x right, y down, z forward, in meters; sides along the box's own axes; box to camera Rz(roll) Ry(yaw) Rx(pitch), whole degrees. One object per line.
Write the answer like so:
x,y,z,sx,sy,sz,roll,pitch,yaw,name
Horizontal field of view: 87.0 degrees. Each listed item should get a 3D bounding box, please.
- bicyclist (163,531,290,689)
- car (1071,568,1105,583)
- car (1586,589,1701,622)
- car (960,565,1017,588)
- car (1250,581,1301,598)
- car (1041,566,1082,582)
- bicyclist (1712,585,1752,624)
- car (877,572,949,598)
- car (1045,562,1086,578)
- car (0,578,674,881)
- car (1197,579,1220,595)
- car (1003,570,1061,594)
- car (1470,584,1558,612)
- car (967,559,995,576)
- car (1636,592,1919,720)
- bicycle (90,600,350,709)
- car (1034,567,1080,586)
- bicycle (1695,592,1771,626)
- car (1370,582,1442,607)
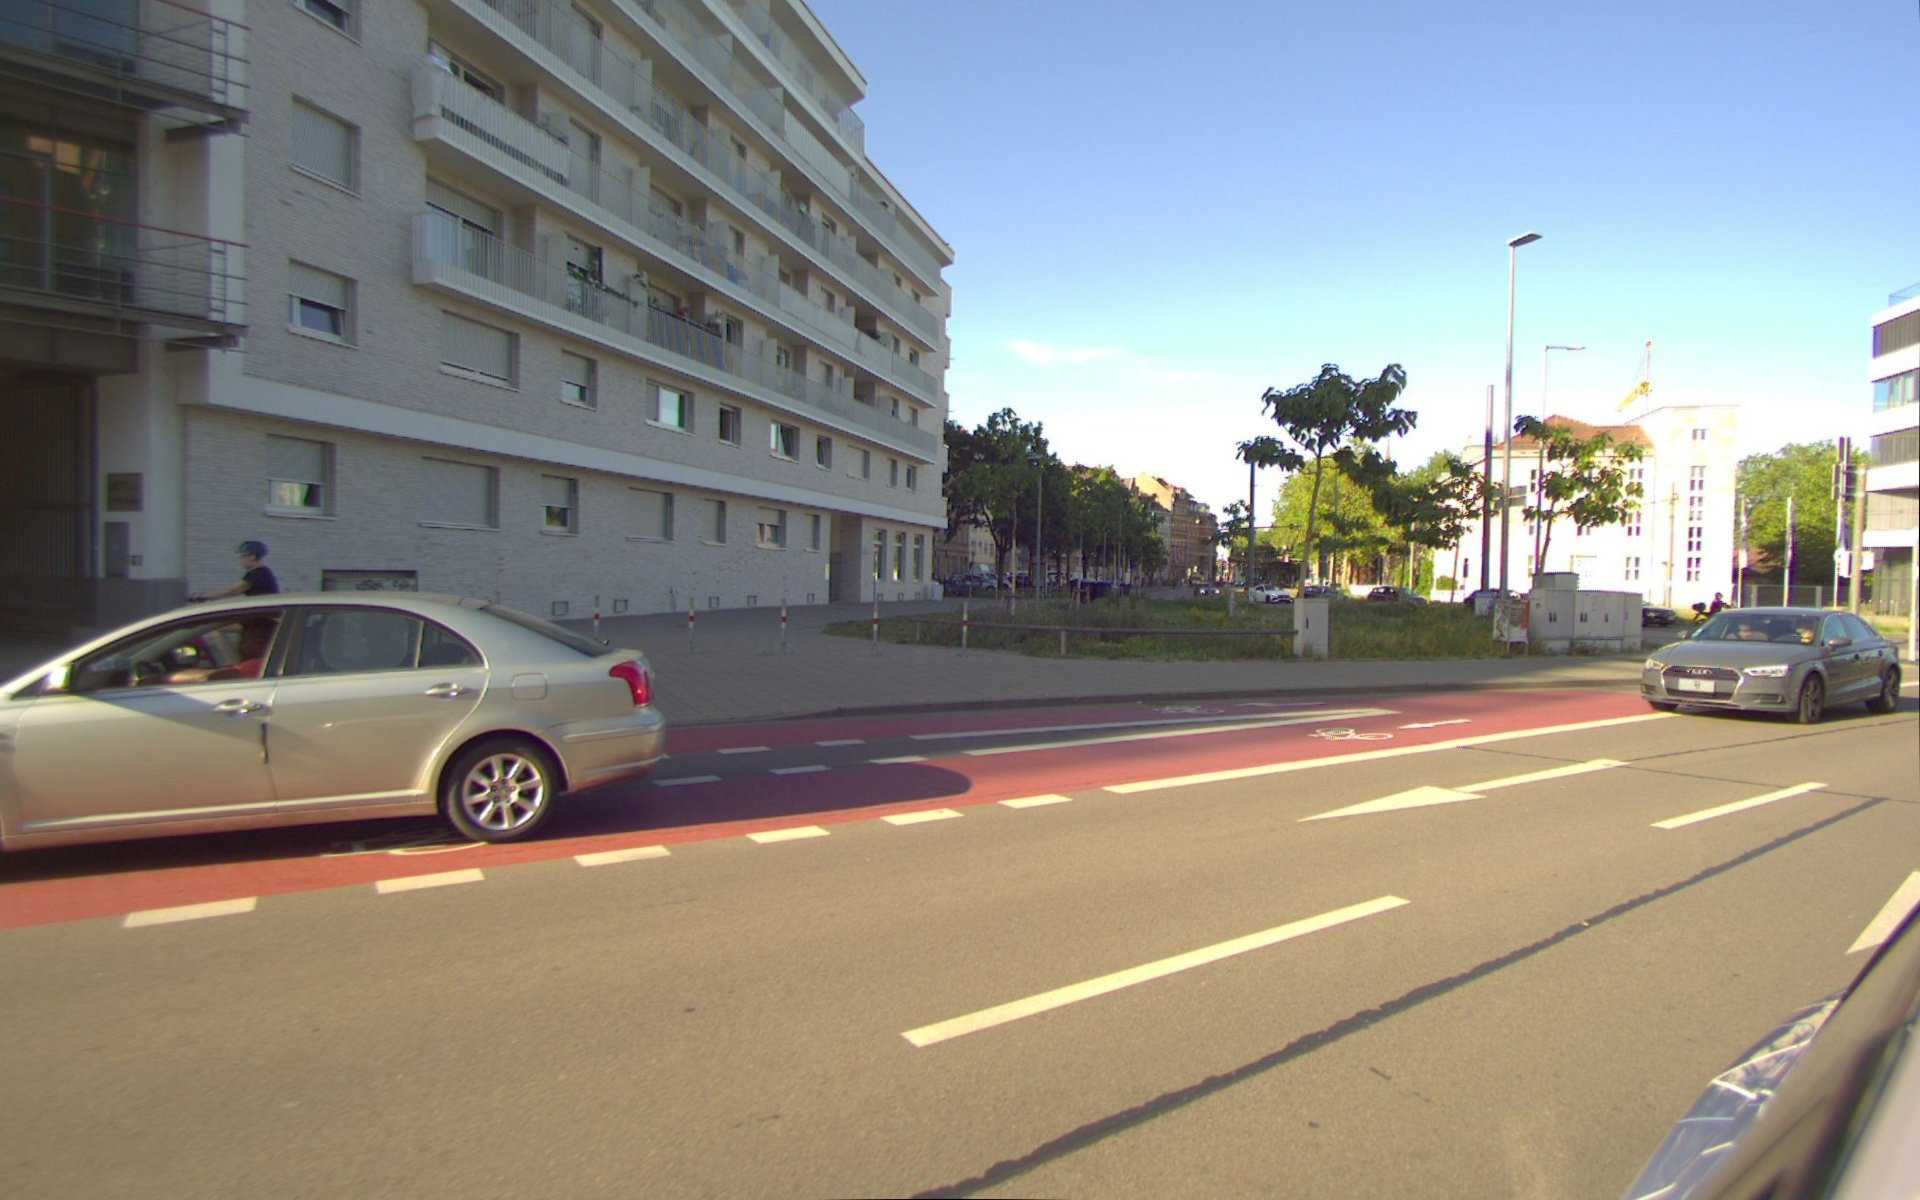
-7.730,0.093,10.704,1.022,1.586,0.627,0,1,-30,bicyclist
16.610,-3.227,131.517,3.916,1.838,2.005,1,1,-14,car
33.019,0.230,49.050,1.958,1.439,4.305,1,2,-17,car
2.211,-1.843,78.696,3.917,1.738,2.004,0,2,-24,car
24.398,-0.820,78.375,1.958,1.259,4.009,1,2,-13,car
11.449,-2.948,114.463,4.173,1.738,2.004,1,1,-11,car
32.491,0.187,42.586,0.861,1.627,1.010,0,1,-23,bicyclist
-2.847,-0.916,61.140,3.968,1.415,1.978,2,2,31,car
11.662,-3.293,111.958,3.915,1.738,2.005,0,1,-18,car
-4.136,0.625,6.160,4.395,1.449,1.760,0,2,-24,car
23.292,-1.243,94.970,1.904,1.393,3.988,1,2,11,car
5.496,-1.394,76.934,3.917,1.738,2.004,0,2,-24,car
30.685,-0.128,56.196,1.958,1.439,4.010,1,2,-17,car
2.346,-3.573,111.463,1.972,1.738,4.241,1,2,16,car
10.969,0.643,13.417,4.028,1.459,1.718,0,1,-30,car
-7.698,0.536,10.662,2.162,1.045,0.501,0,1,-29,bicycle
9.362,-2.284,97.535,3.916,1.738,2.005,1,2,-16,car
32.482,0.348,42.568,0.932,1.328,2.377,0,2,-23,bicycle
28.016,-0.372,63.740,1.958,1.439,4.010,1,2,-17,car
